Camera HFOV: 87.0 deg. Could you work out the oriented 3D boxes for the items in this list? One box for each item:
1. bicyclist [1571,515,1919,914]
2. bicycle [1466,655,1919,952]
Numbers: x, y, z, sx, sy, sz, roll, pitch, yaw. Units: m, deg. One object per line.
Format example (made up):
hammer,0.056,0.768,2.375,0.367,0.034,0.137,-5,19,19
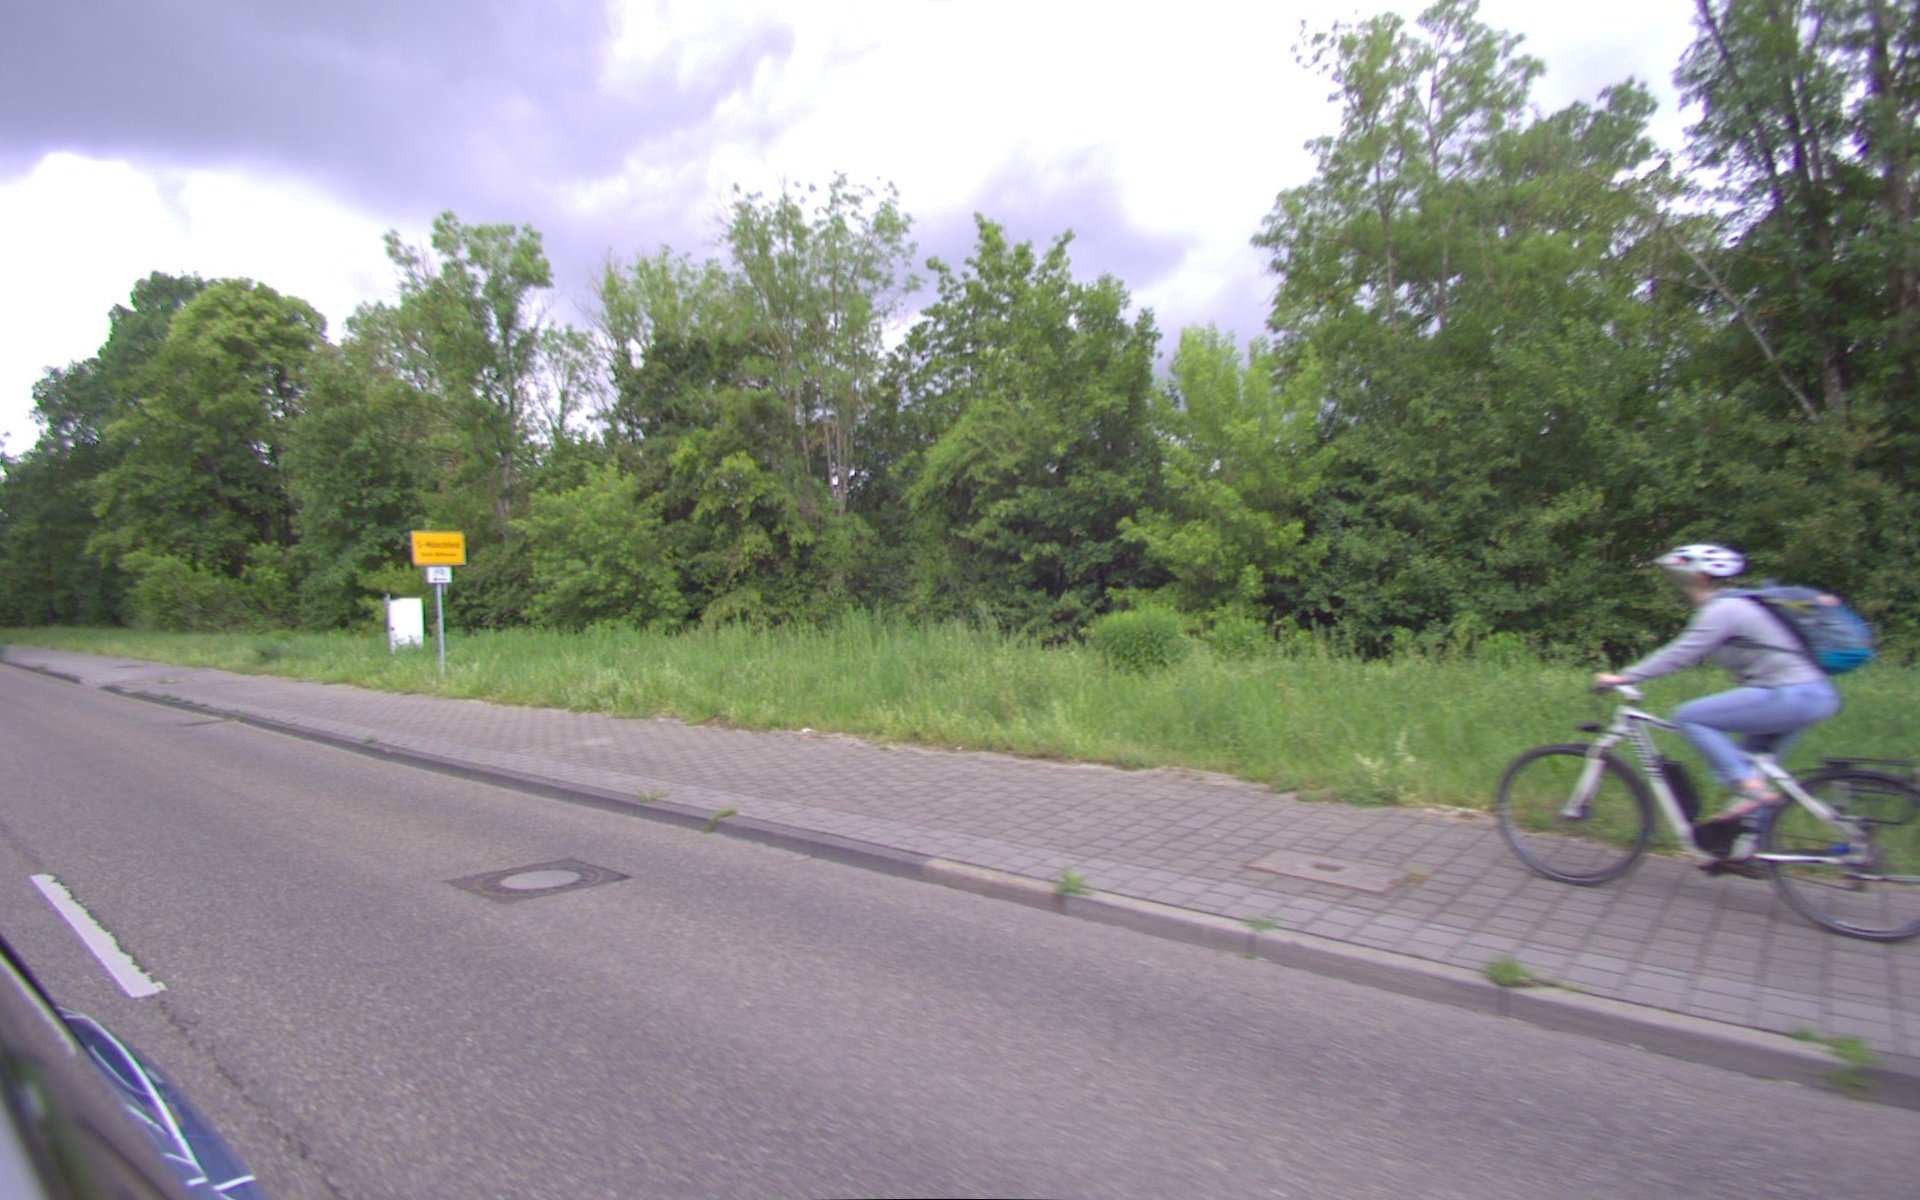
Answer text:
bicyclist,3.537,0.449,4.493,1.271,1.531,0.658,-2,-1,44
bicycle,3.520,0.822,4.516,2.147,1.082,0.658,-2,-1,45
